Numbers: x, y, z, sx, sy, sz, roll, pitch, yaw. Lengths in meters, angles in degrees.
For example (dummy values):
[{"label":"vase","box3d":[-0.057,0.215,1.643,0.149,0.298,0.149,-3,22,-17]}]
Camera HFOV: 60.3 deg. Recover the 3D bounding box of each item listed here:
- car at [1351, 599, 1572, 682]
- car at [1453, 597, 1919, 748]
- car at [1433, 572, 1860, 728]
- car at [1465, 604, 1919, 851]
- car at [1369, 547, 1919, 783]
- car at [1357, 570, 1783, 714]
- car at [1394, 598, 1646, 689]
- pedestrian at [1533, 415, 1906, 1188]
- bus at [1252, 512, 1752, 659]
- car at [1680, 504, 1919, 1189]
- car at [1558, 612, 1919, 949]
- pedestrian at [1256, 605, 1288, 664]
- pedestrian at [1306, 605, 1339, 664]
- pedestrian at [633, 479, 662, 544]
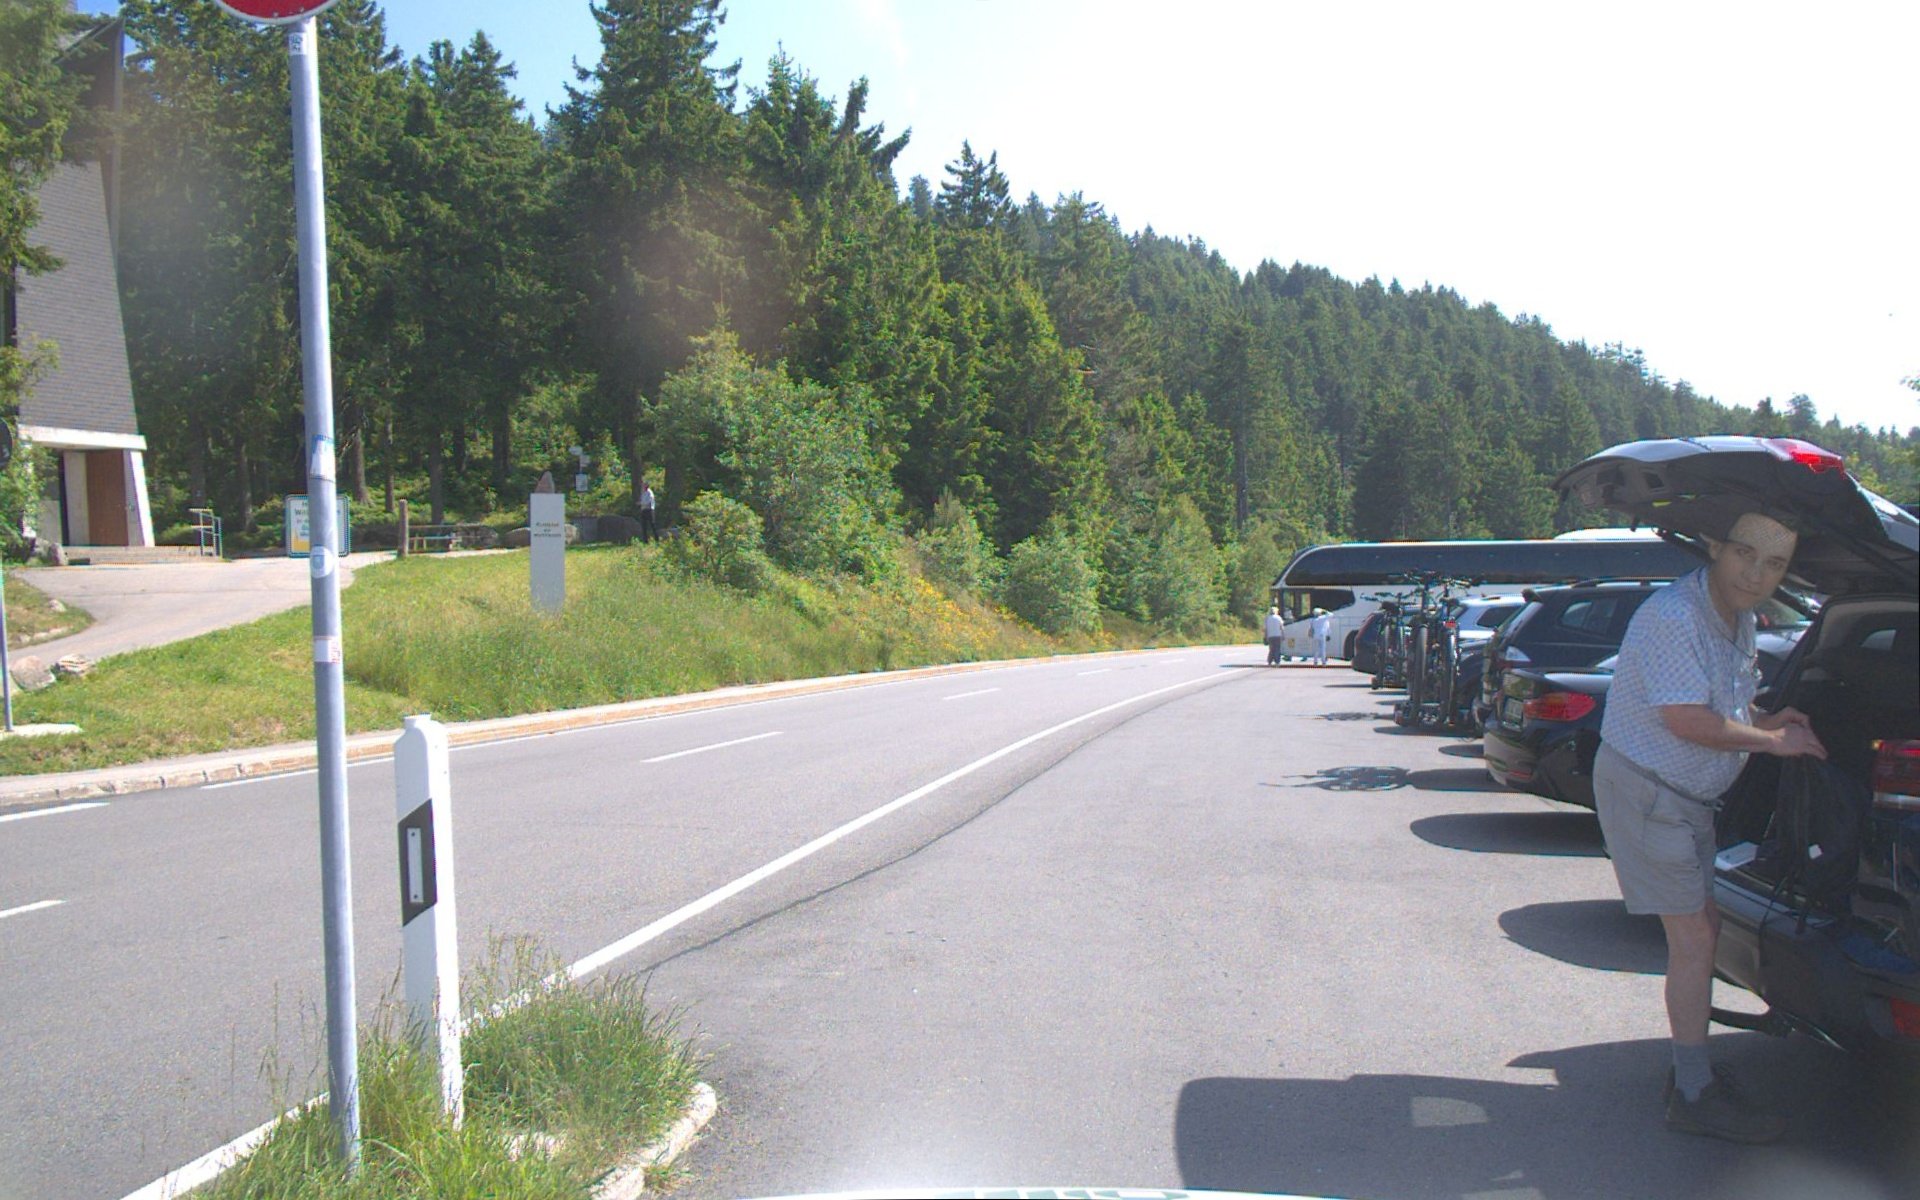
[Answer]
[{"label":"car","box3d":[9.600,0.773,31.971,3.902,1.474,1.863,-2,-1,12]},{"label":"car","box3d":[7.005,0.678,15.954,4.153,1.291,1.839,-2,-1,12]},{"label":"car","box3d":[7.595,0.563,18.715,4.153,1.581,1.839,-2,-1,12]},{"label":"car","box3d":[5.454,0.767,10.564,3.995,1.400,1.703,1,0,6]},{"label":"car","box3d":[5.837,0.508,13.434,4.843,1.725,1.946,-1,0,14]},{"label":"car","box3d":[7.767,0.549,21.580,4.926,1.680,2.049,-2,-1,12]},{"label":"car","box3d":[9.502,0.744,28.336,3.902,1.423,1.621,-2,-1,12]},{"label":"pedestrian","box3d":[2.103,0.480,4.580,0.724,1.903,0.753,2,3,42]},{"label":"bus","box3d":[14.902,-0.288,46.300,12.826,3.594,3.043,-2,-1,22]},{"label":"car","box3d":[4.551,0.685,4.629,4.252,1.654,1.871,2,-1,7]},{"label":"car","box3d":[5.132,0.802,7.824,3.996,1.400,1.703,1,0,3]},{"label":"pedestrian","box3d":[8.764,0.957,46.423,0.754,1.613,0.773,-2,-1,19]},{"label":"pedestrian","box3d":[10.065,0.960,45.921,0.754,1.613,0.773,-2,-1,19]},{"label":"pedestrian","box3d":[-9.425,-2.659,49.937,0.666,1.910,0.542,-2,-1,7]}]
